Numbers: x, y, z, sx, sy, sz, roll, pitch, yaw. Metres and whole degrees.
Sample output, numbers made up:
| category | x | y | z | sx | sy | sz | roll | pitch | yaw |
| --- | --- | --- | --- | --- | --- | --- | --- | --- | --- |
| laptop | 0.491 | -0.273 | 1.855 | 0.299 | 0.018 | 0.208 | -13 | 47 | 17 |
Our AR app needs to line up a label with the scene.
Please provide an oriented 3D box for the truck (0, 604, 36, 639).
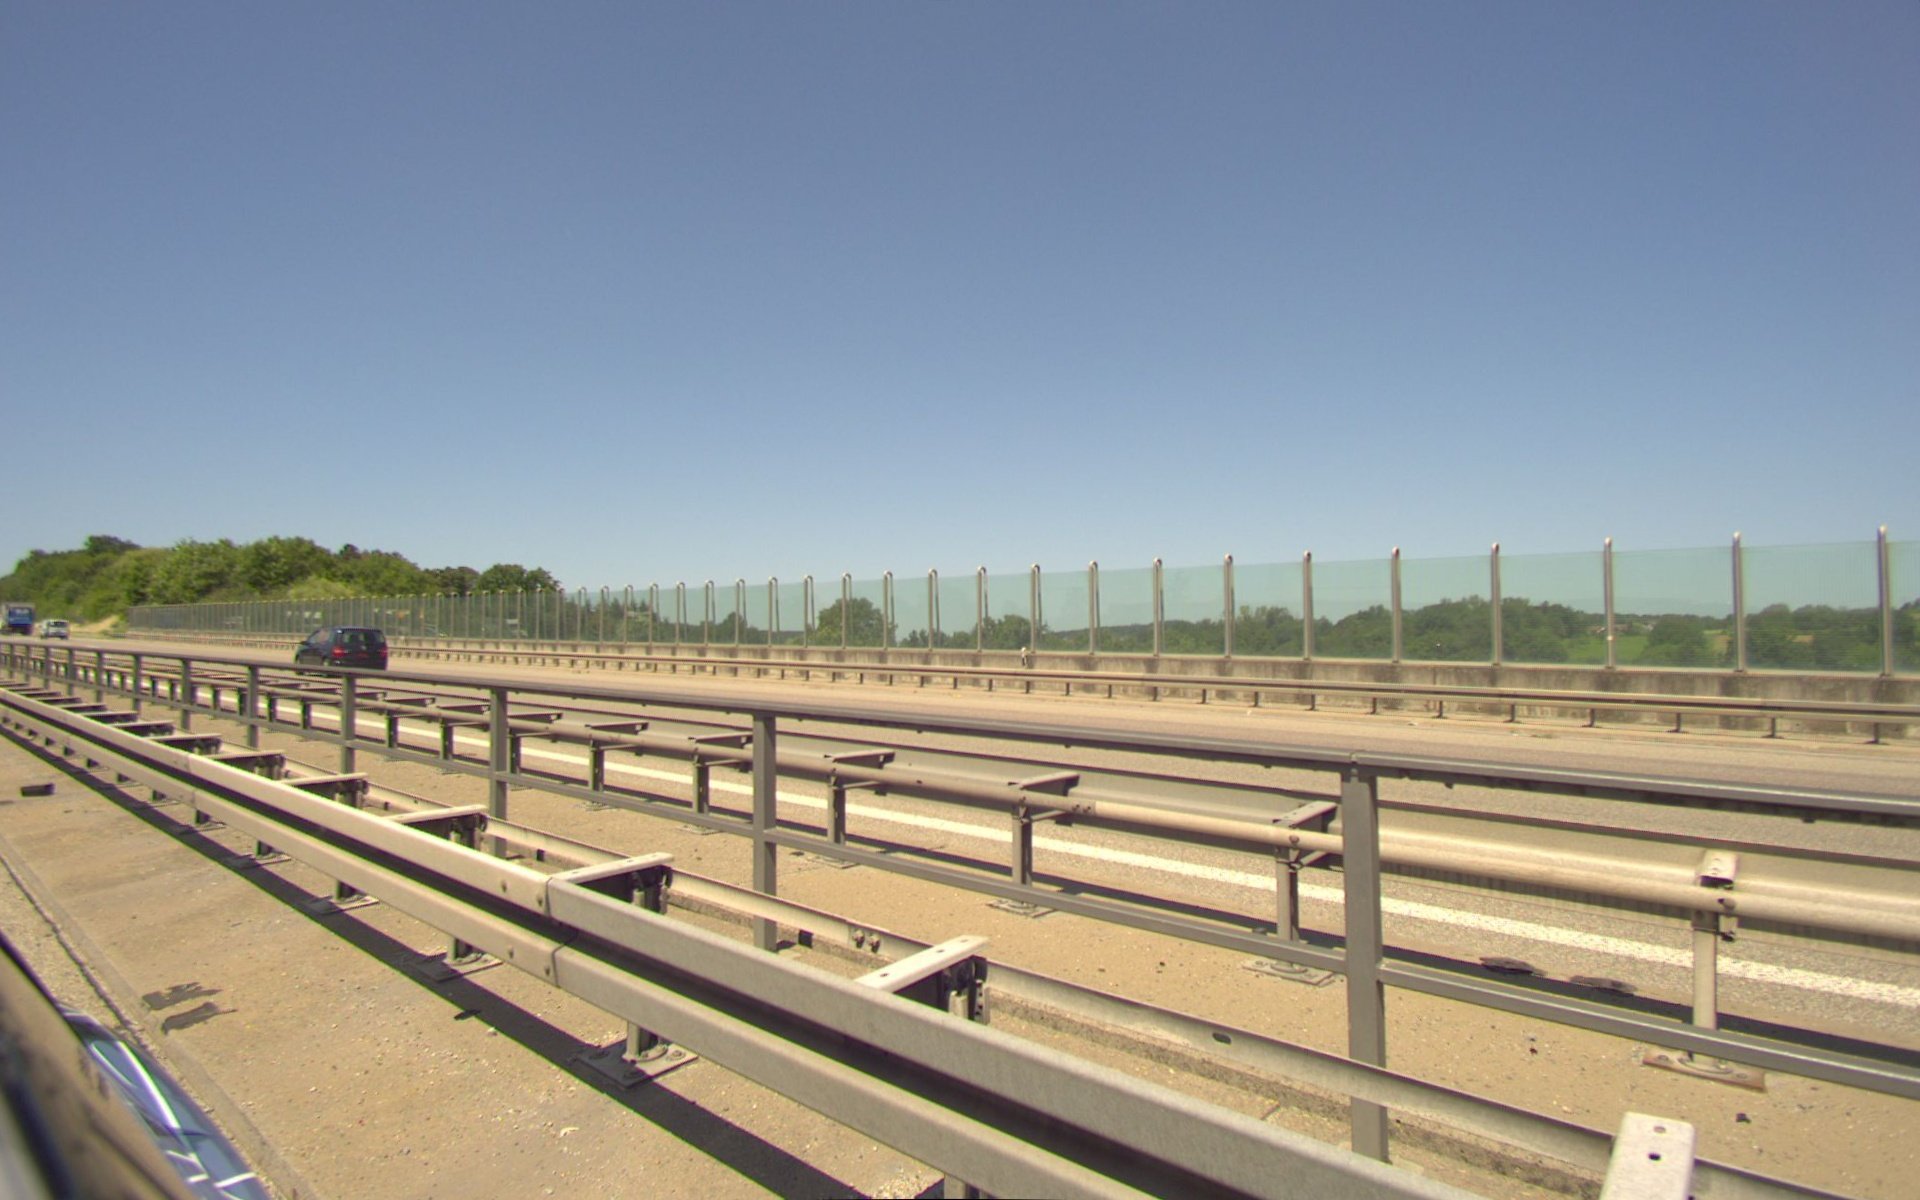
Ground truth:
| category | x | y | z | sx | sy | sz | roll | pitch | yaw |
| --- | --- | --- | --- | --- | --- | --- | --- | --- | --- |
| truck | -119.305 | 2.766 | 127.686 | 9.986 | 4.117 | 2.839 | -1 | -4 | 42 |

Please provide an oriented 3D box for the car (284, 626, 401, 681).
| category | x | y | z | sx | sy | sz | roll | pitch | yaw |
| --- | --- | --- | --- | --- | --- | --- | --- | --- | --- |
| car | -20.149 | 1.723 | 32.989 | 4.183 | 1.685 | 1.973 | -1 | -4 | 40 |

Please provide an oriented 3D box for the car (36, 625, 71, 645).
| category | x | y | z | sx | sy | sz | roll | pitch | yaw |
| --- | --- | --- | --- | --- | --- | --- | --- | --- | --- |
| car | -93.144 | 3.586 | 103.942 | 4.487 | 1.999 | 2.013 | -2 | -5 | 41 |
